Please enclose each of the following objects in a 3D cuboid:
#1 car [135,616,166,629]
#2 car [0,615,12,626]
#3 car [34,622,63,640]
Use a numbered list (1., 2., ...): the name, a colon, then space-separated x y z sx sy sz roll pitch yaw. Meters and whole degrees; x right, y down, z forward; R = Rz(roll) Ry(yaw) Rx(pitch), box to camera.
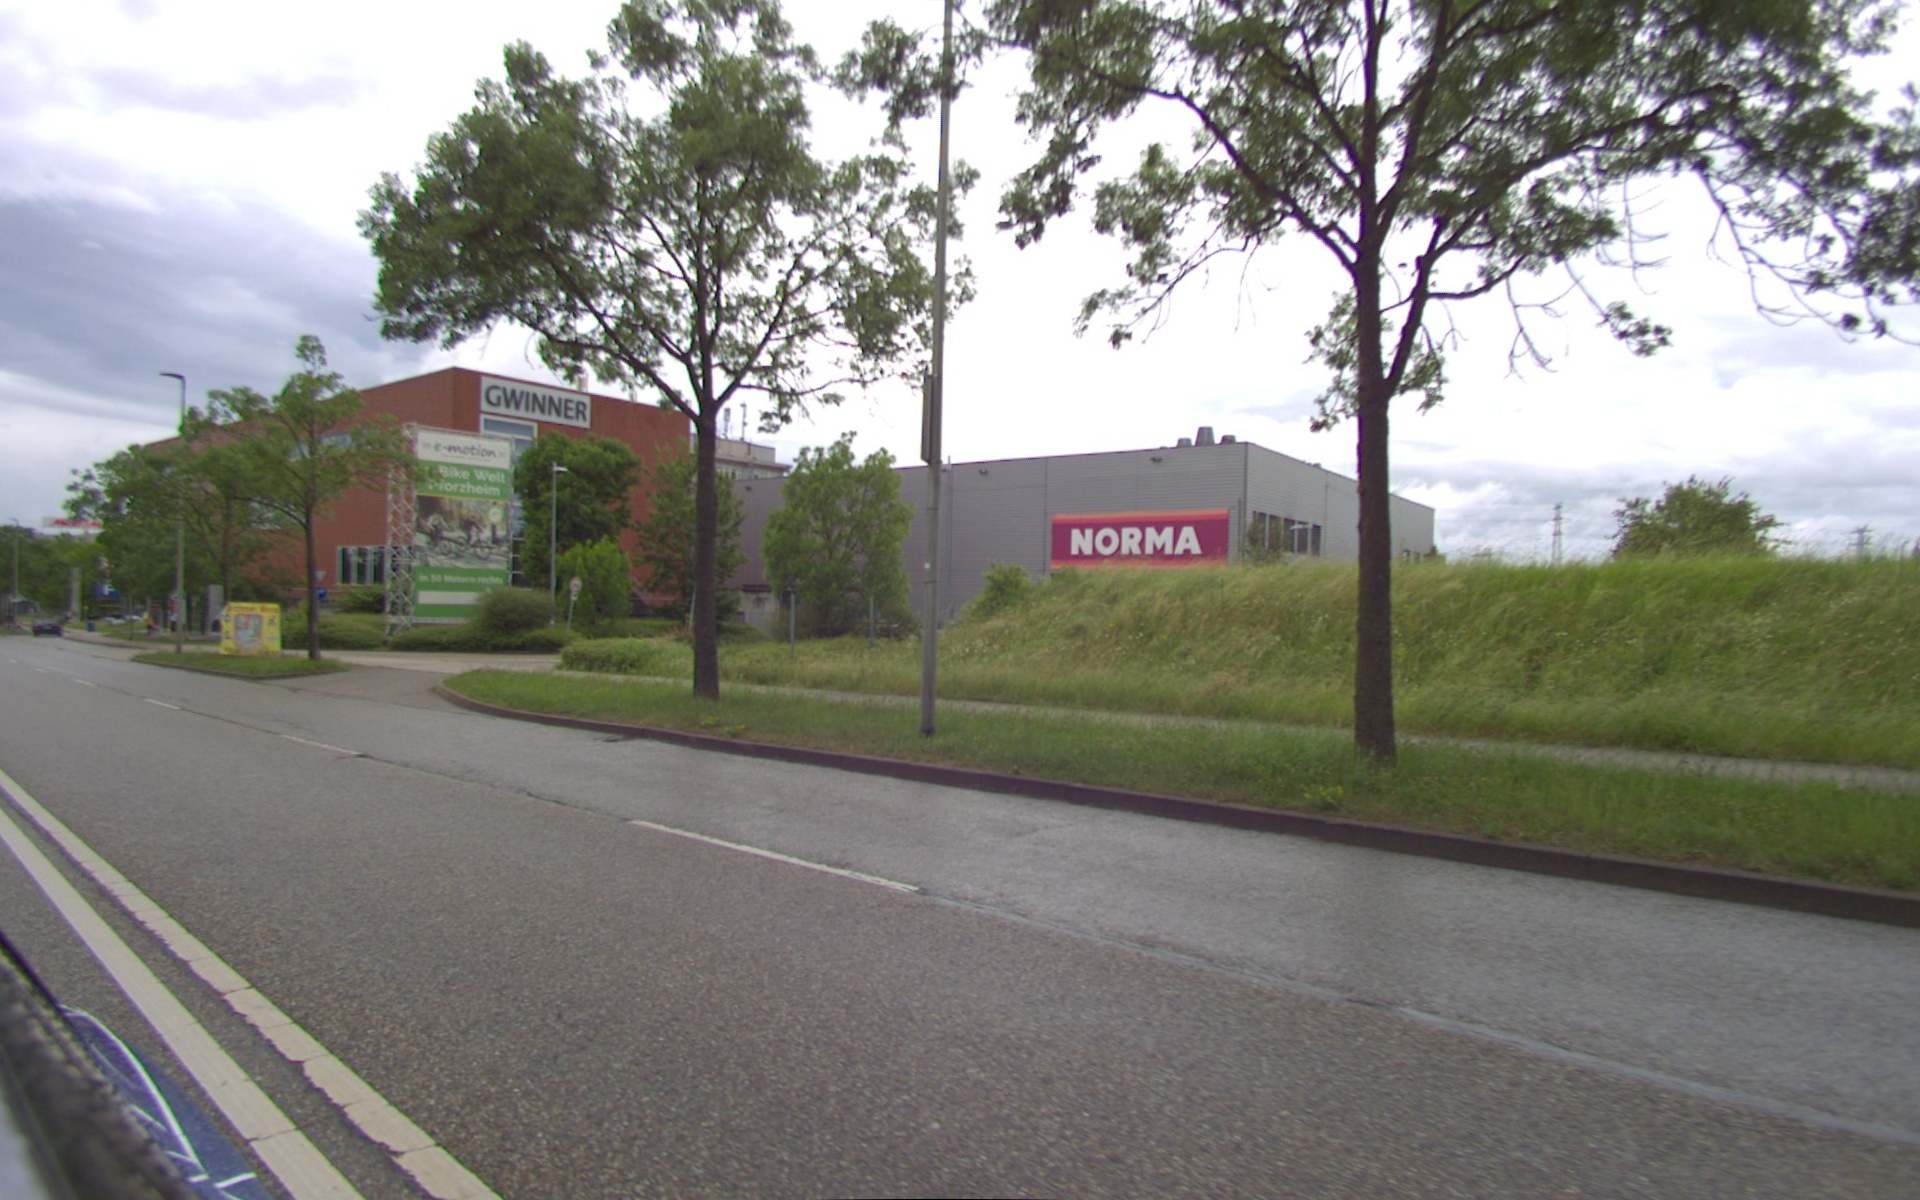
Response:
1. car: -97.426 2.708 121.813 4.430 1.630 1.812 -1 -1 36
2. car: -149.080 3.223 157.641 1.806 1.630 4.006 -1 0 -41
3. car: -77.072 2.598 85.556 1.716 1.465 4.003 3 -3 -44
